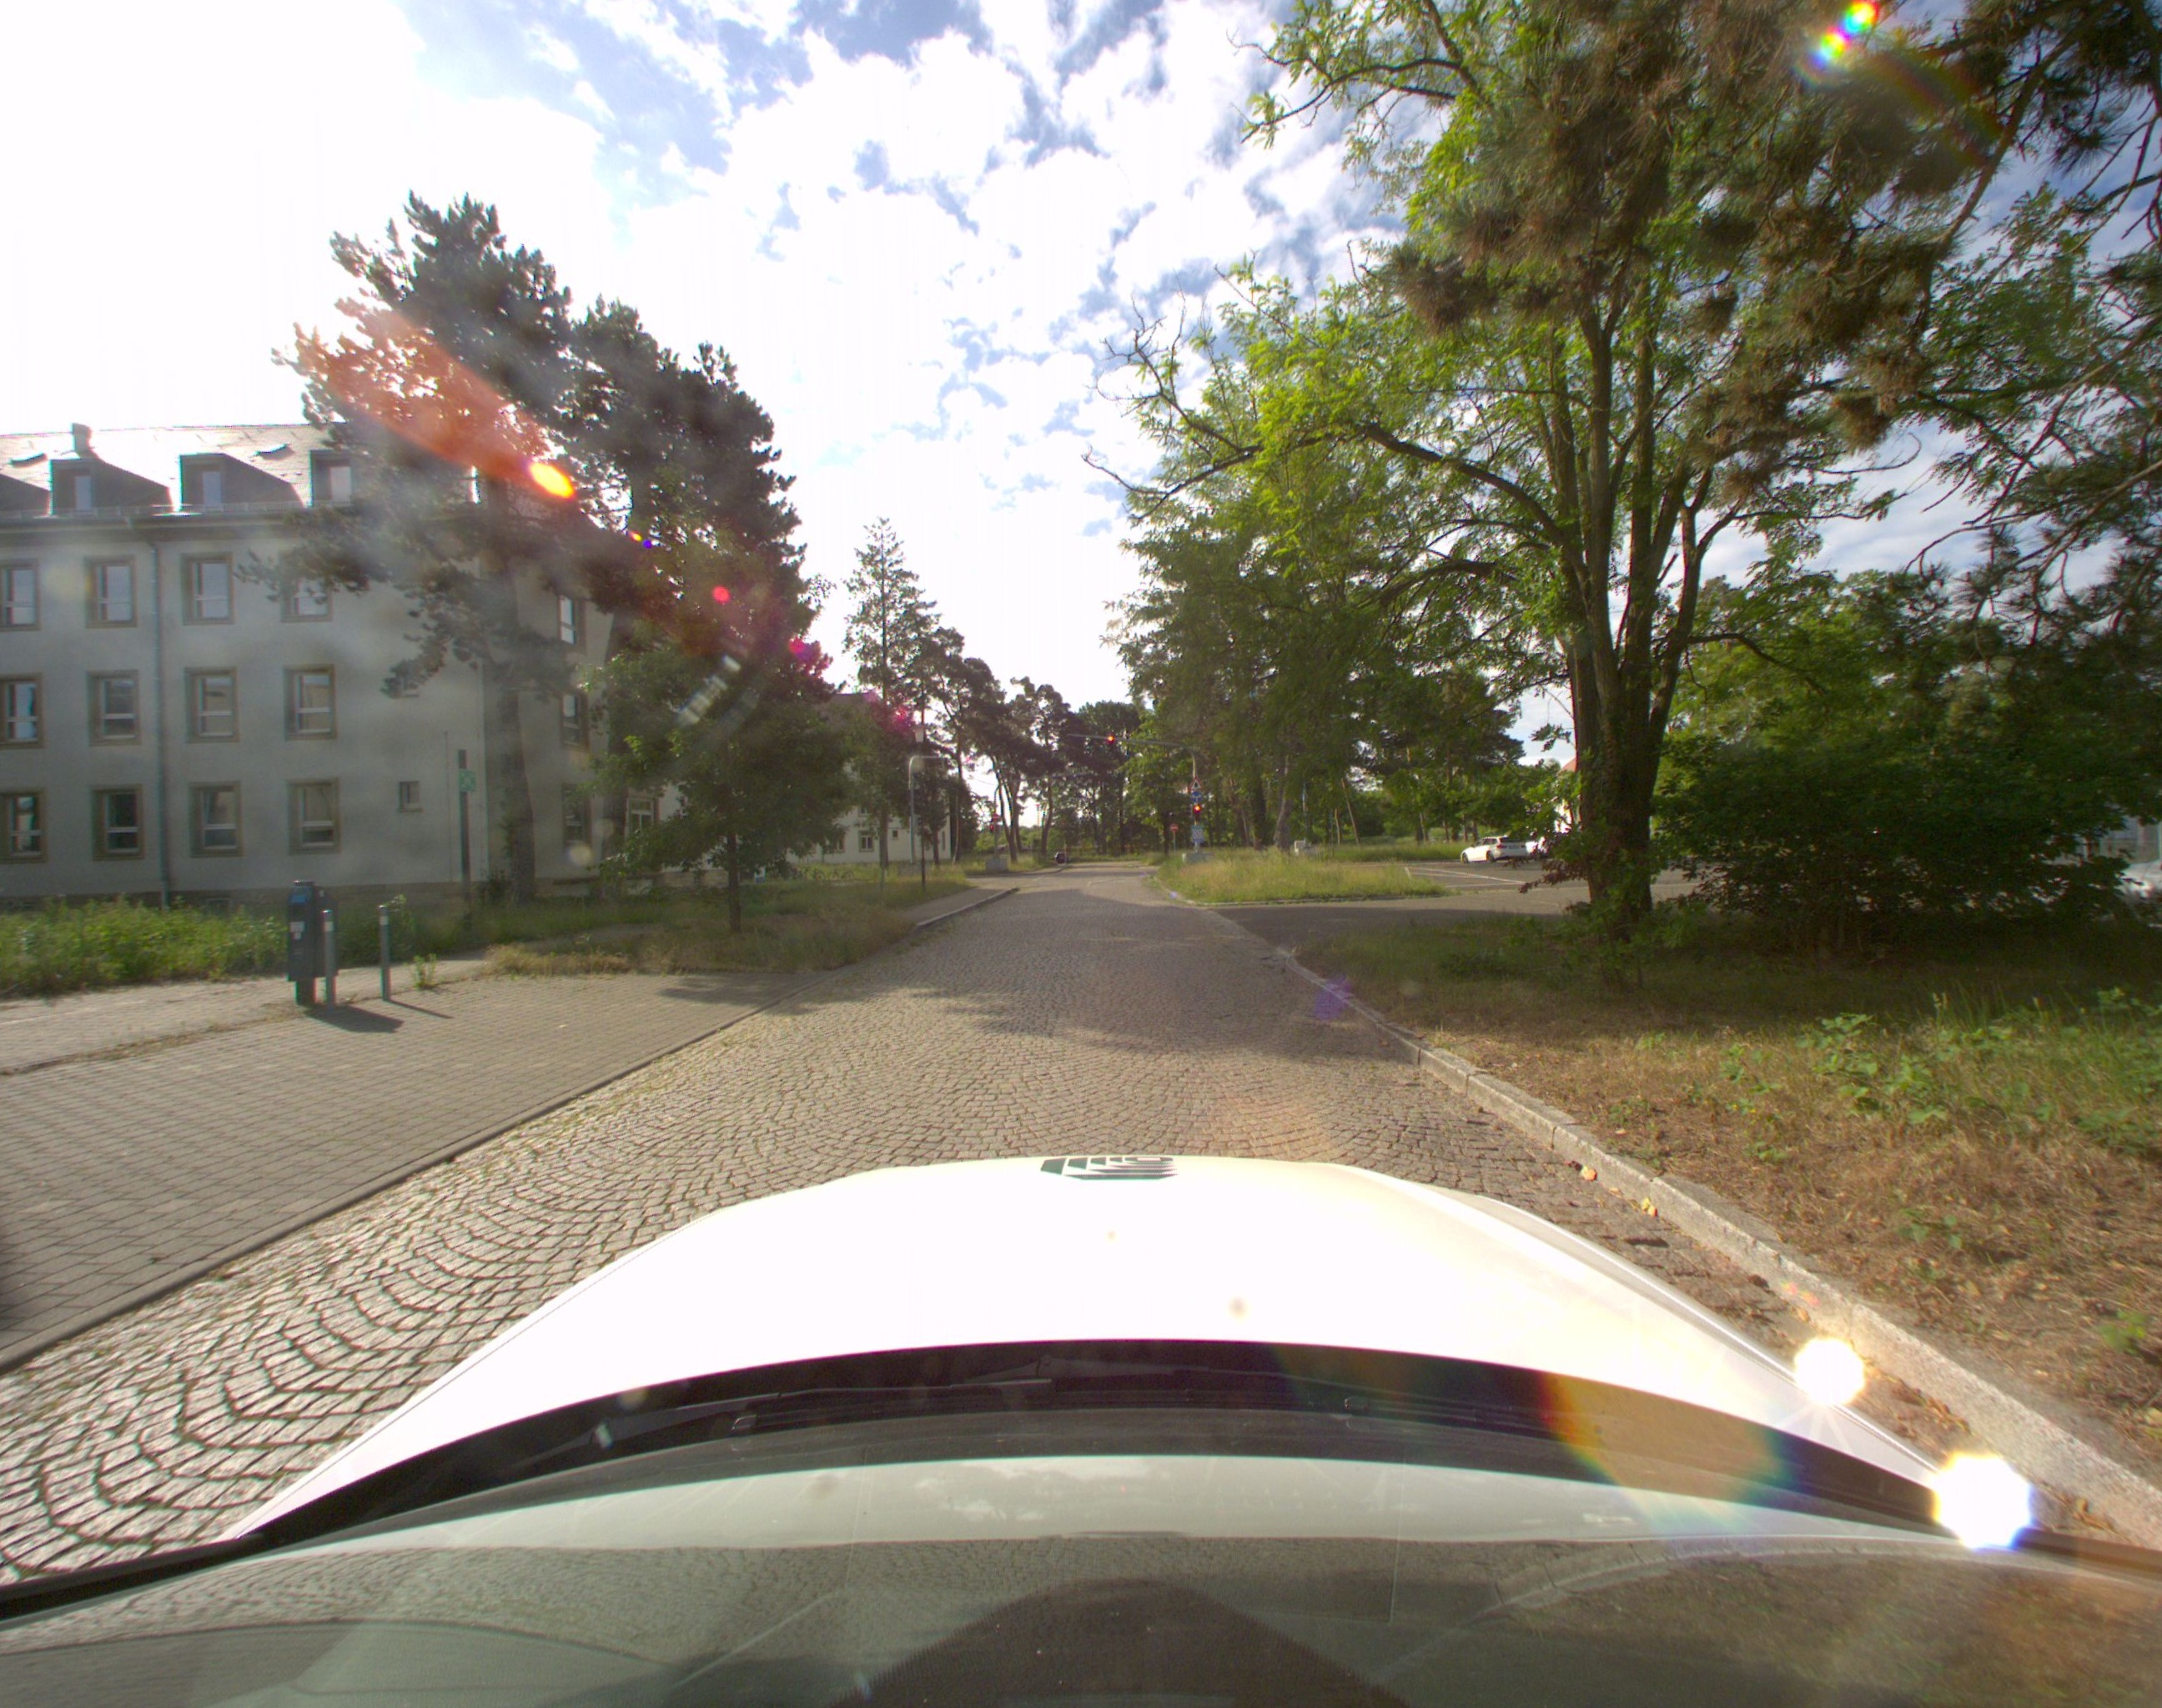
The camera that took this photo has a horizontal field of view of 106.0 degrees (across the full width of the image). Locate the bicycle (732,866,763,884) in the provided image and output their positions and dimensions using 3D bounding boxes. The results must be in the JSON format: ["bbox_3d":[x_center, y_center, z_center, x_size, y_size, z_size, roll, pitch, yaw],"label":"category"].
[{"bbox_3d":[-21.649,1.340,52.898,0.897,1.047,2.555,-2,0,2],"label":"bicycle"}]

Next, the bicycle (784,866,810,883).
[{"bbox_3d":[-18.408,1.306,52.844,0.823,1.047,2.125,-2,0,2],"label":"bicycle"}]

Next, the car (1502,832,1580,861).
[{"bbox_3d":[25.247,-0.410,44.897,1.726,1.476,4.329,-2,0,-2],"label":"car"}]

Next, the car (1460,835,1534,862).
[{"bbox_3d":[22.726,-0.295,44.634,1.726,1.312,4.329,-2,0,-2],"label":"car"}]

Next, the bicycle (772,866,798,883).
[{"bbox_3d":[-19.190,1.314,52.815,0.823,1.047,2.125,-2,0,2],"label":"bicycle"}]

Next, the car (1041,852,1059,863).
[{"bbox_3d":[-4.315,0.470,113.675,1.772,1.490,3.765,-2,0,9],"label":"car"}]

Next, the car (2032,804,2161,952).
[{"bbox_3d":[11.601,0.212,7.188,1.663,1.467,3.997,-2,0,-2],"label":"car"}]

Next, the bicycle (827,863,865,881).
[{"bbox_3d":[-14.877,1.139,51.624,2.111,1.047,0.828,-2,0,-2],"label":"bicycle"}]

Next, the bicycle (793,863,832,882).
[{"bbox_3d":[-16.999,1.164,51.567,2.111,1.108,0.828,-2,0,-2],"label":"bicycle"}]

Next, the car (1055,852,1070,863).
[{"bbox_3d":[-2.450,0.444,108.777,1.839,1.486,3.999,-2,0,-1],"label":"car"}]

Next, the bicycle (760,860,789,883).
[{"bbox_3d":[-19.975,1.113,53.170,0.823,1.437,2.555,-2,0,2],"label":"bicycle"}]

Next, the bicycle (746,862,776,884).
[{"bbox_3d":[-20.753,1.214,52.882,0.823,1.281,2.555,-2,0,2],"label":"bicycle"}]

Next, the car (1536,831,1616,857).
[{"bbox_3d":[27.375,-0.533,45.223,1.726,1.312,4.329,-2,0,-2],"label":"car"}]
